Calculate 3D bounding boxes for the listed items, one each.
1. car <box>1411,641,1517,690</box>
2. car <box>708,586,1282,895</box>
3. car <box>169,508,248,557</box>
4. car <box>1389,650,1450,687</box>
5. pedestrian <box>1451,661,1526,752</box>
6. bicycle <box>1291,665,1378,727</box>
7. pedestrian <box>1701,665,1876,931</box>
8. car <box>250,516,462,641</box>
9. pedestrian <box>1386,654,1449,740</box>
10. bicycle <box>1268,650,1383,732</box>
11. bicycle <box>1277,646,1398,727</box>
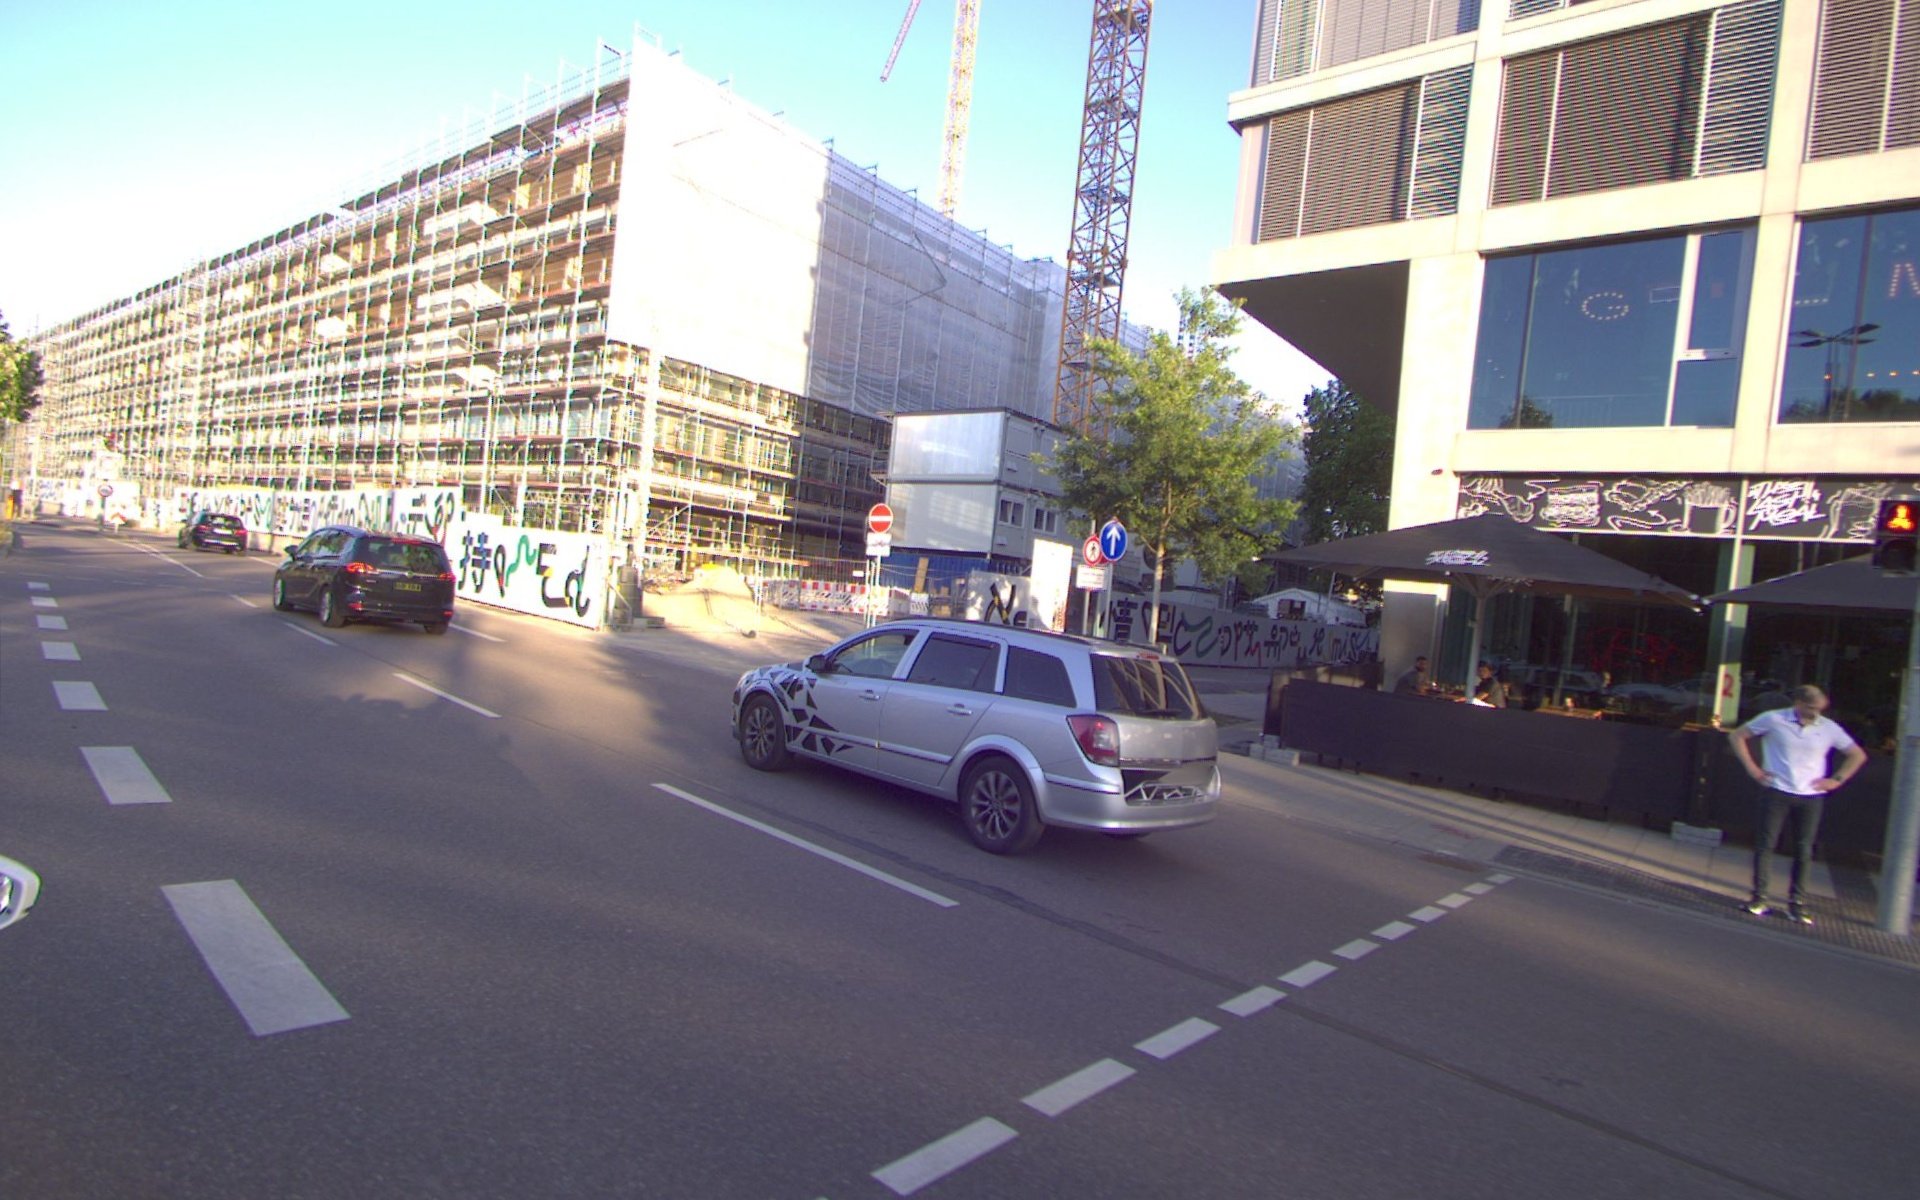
[{"bbox_3d":[27.383,3.524,54.805,1.654,2.013,4.737,5,1,-35],"label":"car"},{"bbox_3d":[0.055,0.896,7.948,4.244,1.481,1.826,7,-1,43],"label":"car"},{"bbox_3d":[-29.539,-2.673,39.487,1.816,1.537,4.731,8,-1,-44],"label":"car"},{"bbox_3d":[20.636,3.059,45.100,1.643,1.370,3.985,7,1,35],"label":"car"},{"bbox_3d":[8.472,1.679,16.122,0.741,1.337,0.706,2,4,-38],"label":"pedestrian"},{"bbox_3d":[6.789,1.736,18.279,1.325,0.940,0.410,6,-1,40],"label":"bicycle"},{"bbox_3d":[6.463,1.494,7.860,0.672,1.872,0.762,4,3,-39],"label":"pedestrian"},{"bbox_3d":[-10.379,-0.408,17.138,4.307,1.618,1.820,7,-1,42],"label":"car"},{"bbox_3d":[7.624,1.610,16.785,0.608,1.337,0.615,2,4,-33],"label":"pedestrian"},{"bbox_3d":[6.471,1.596,17.859,1.721,1.225,0.585,5,-1,40],"label":"bicycle"},{"bbox_3d":[7.005,1.596,18.745,1.928,1.225,0.542,6,-1,40],"label":"bicycle"}]
